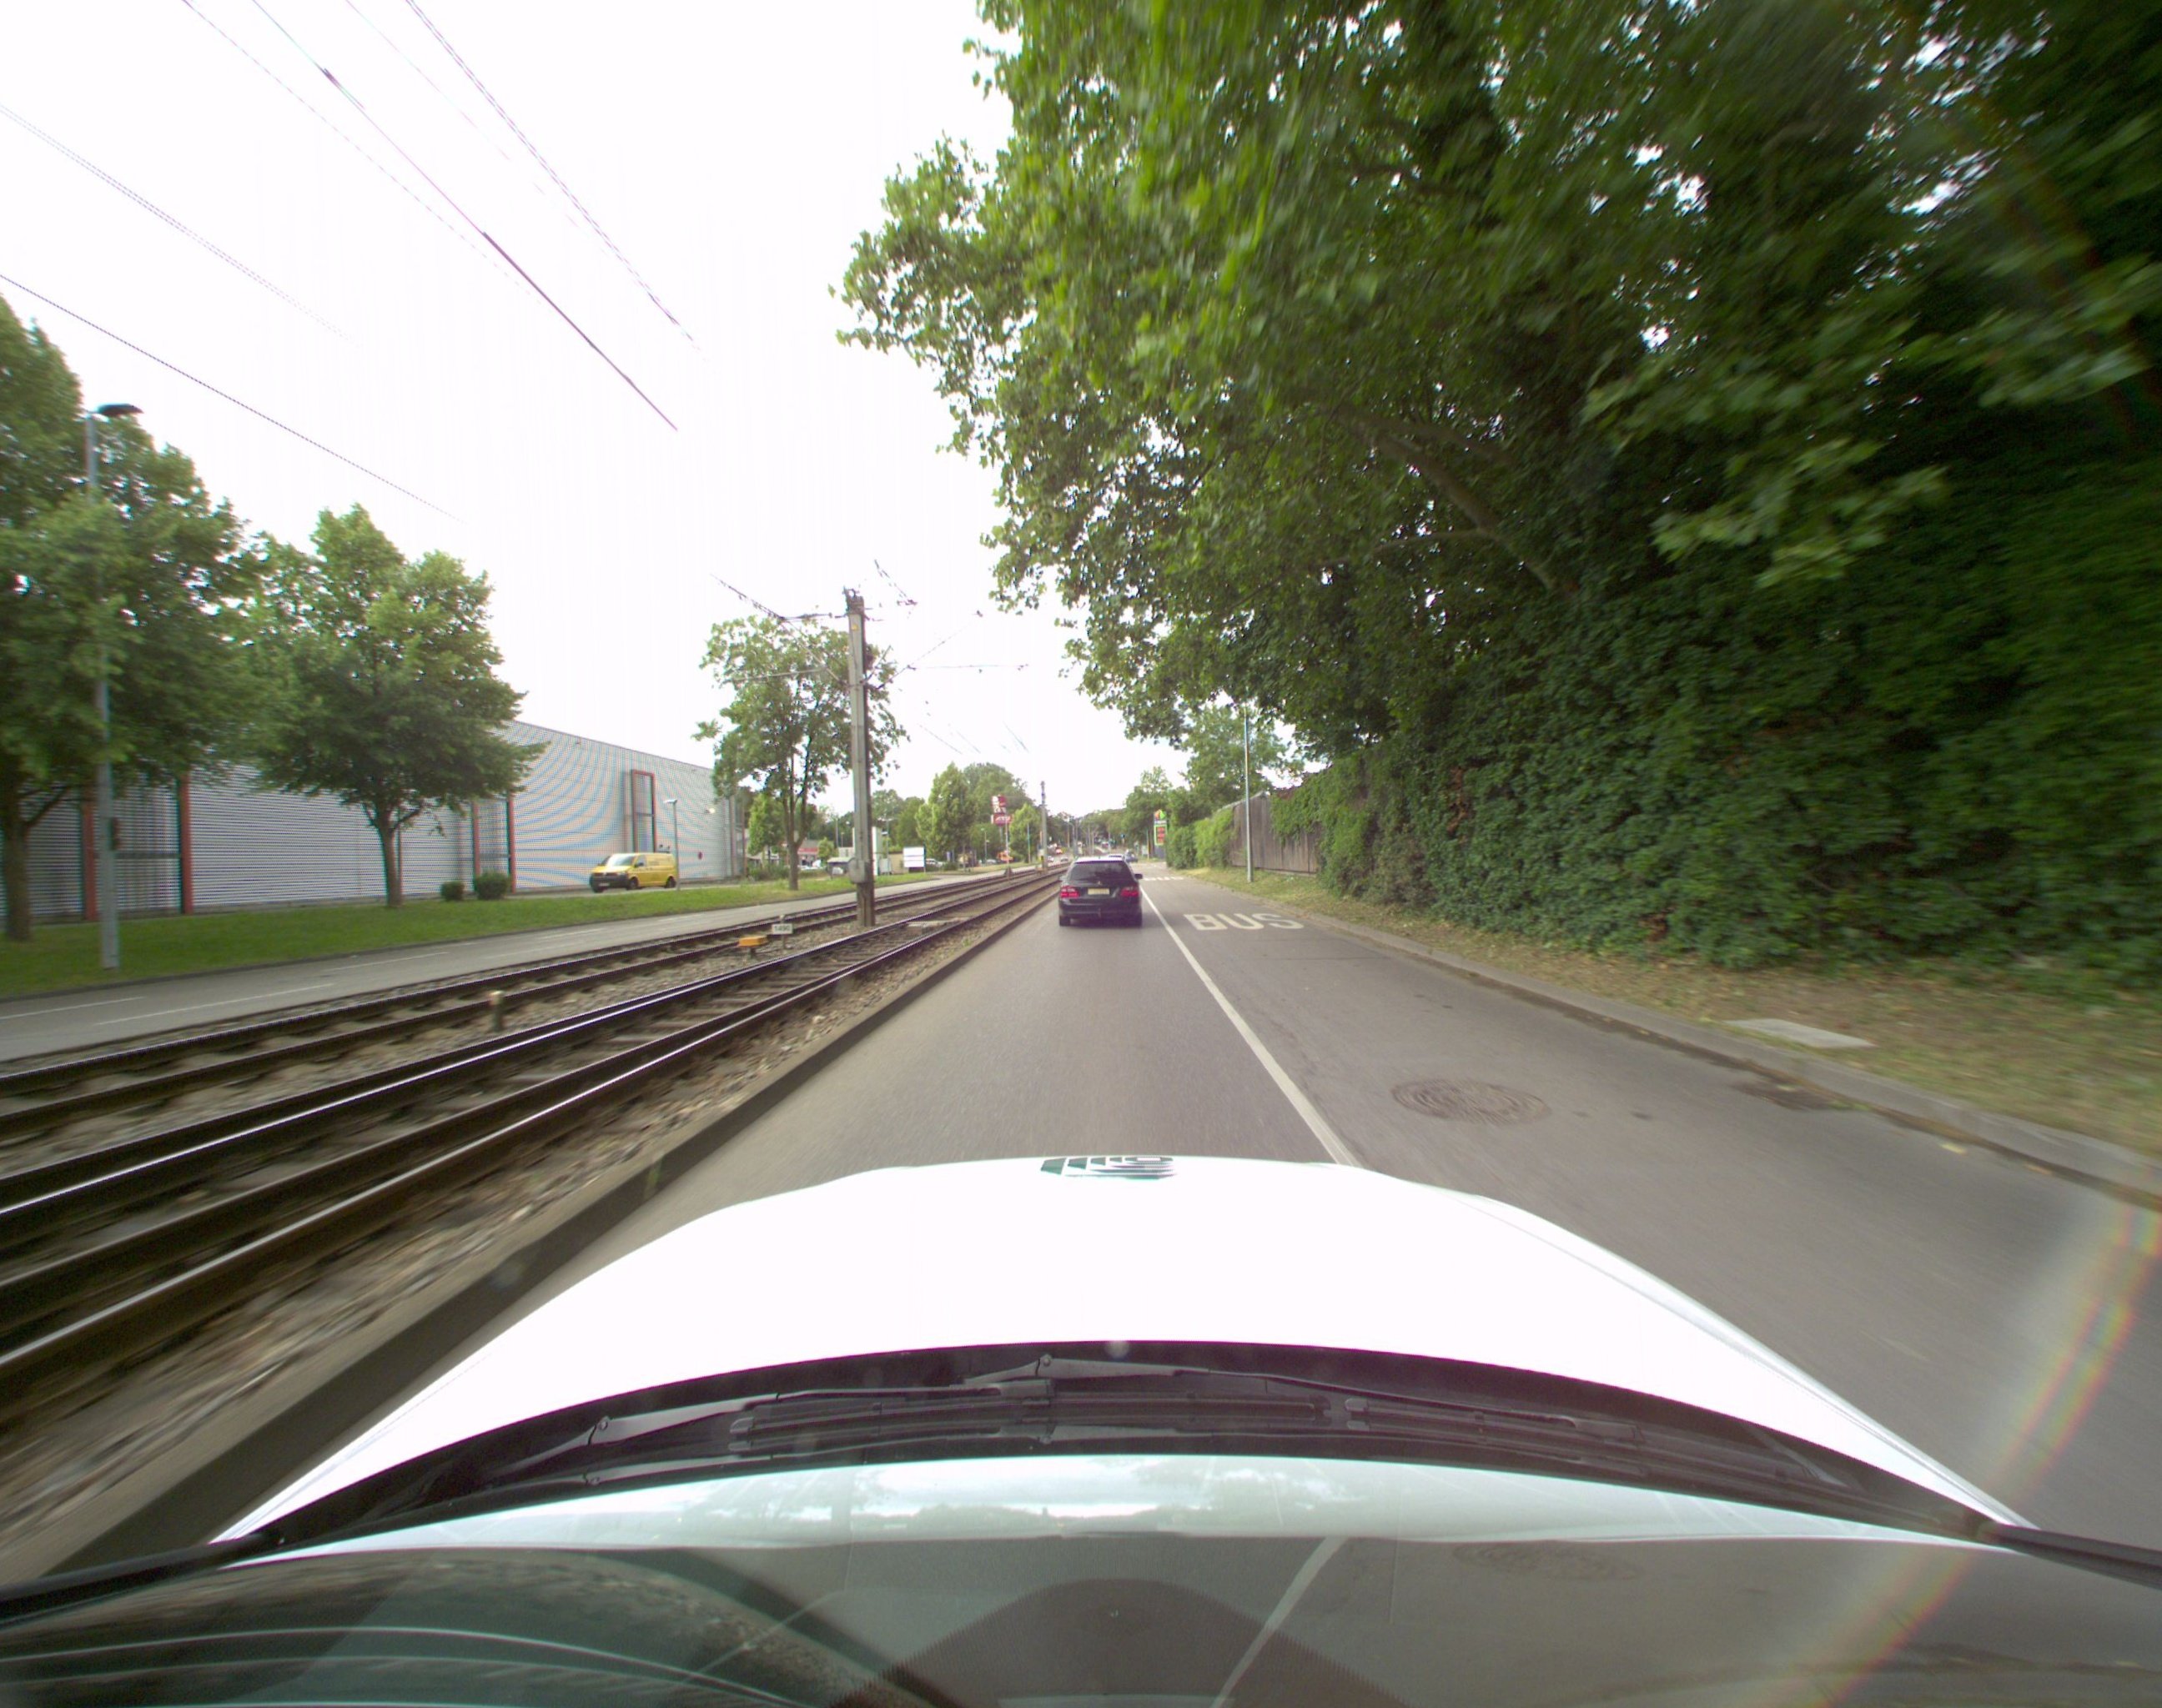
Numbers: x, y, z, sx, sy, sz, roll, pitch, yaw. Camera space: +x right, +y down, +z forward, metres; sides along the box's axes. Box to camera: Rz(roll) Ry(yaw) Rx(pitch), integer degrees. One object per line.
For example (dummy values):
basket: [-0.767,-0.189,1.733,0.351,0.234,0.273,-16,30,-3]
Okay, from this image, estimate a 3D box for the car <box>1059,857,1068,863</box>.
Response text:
car: [-4.150,1.405,190.026,1.752,1.401,4.445,-5,0,1]

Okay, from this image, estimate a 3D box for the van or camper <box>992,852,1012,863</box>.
van or camper: [-16.611,0.772,172.205,3.977,2.135,1.876,-2,0,-3]

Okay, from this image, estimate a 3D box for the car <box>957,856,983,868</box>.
car: [-18.038,1.332,132.348,3.977,1.797,1.876,-3,0,-3]

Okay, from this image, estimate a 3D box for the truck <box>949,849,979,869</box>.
truck: [-17.634,0.815,122.877,3.975,2.821,2.376,-3,0,-1]

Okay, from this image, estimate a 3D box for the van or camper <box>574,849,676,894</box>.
van or camper: [-22.453,0.803,40.411,2.097,2.013,5.240,-2,0,-1]

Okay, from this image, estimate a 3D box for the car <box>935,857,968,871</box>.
car: [-18.053,1.352,113.923,4.206,1.727,1.995,-3,0,0]

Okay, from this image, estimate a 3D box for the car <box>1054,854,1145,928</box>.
car: [0.463,0.742,18.357,1.801,1.474,3.883,-1,0,2]

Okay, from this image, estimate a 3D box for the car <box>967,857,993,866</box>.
car: [-18.040,1.351,145.744,4.293,1.472,1.680,-2,0,0]

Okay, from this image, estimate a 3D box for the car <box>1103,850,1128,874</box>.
car: [2.545,0.584,60.024,1.773,1.750,3.720,0,-1,2]

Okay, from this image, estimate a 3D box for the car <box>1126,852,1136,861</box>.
car: [8.049,0.347,131.539,1.565,1.414,3.356,0,-1,2]
